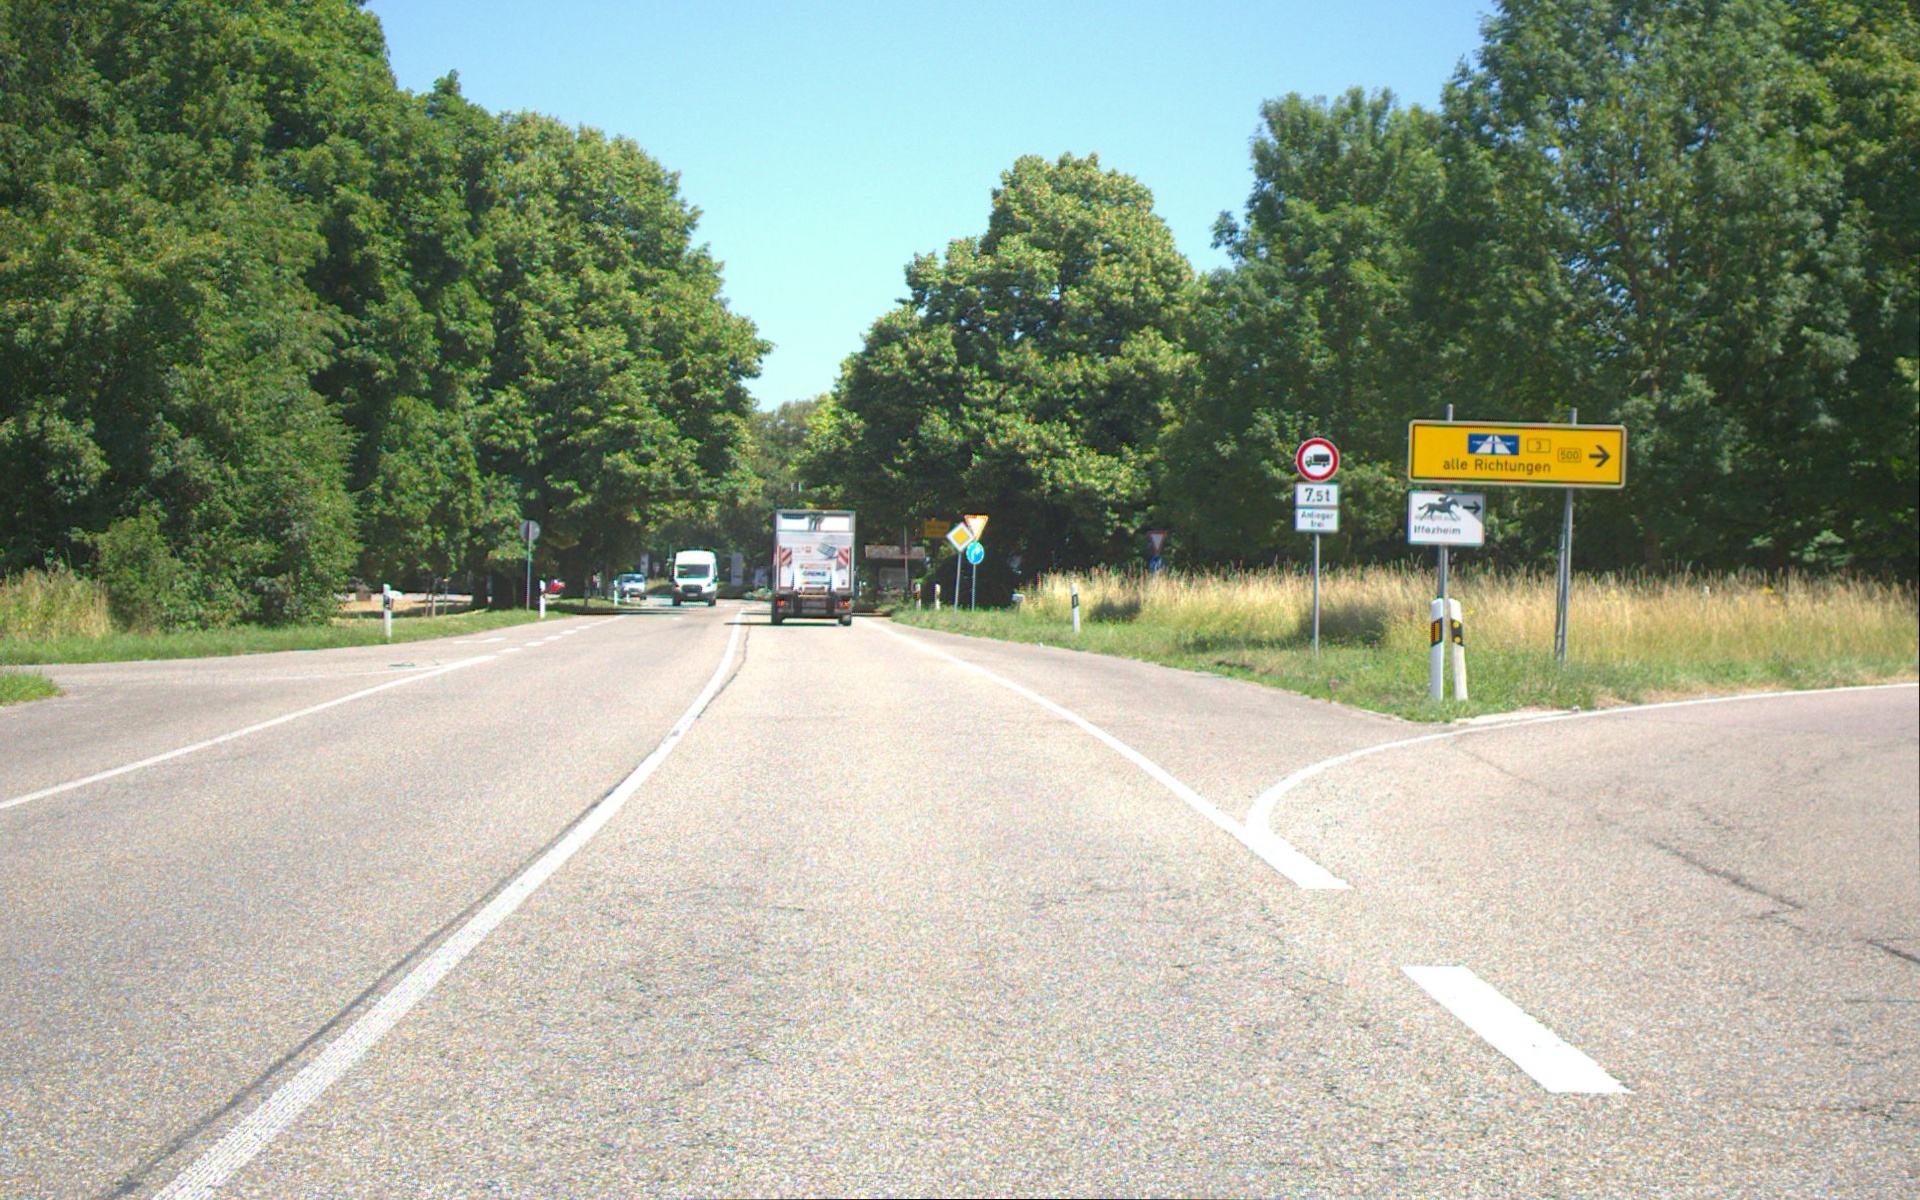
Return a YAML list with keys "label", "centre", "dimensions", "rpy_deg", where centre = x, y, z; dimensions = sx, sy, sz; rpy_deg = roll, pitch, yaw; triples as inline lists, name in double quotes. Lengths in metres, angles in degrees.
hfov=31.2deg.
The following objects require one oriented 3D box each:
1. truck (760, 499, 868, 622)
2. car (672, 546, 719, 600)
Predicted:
- label: "truck"
  centre: [-3.787, -1.053, 90.180]
  dimensions: [2.534, 3.124, 5.361]
  rpy_deg: [0, 1, 1]
- label: "car"
  centre: [-13.147, -1.332, 171.164]
  dimensions: [2.073, 2.618, 6.784]
  rpy_deg: [0, 0, -2]
